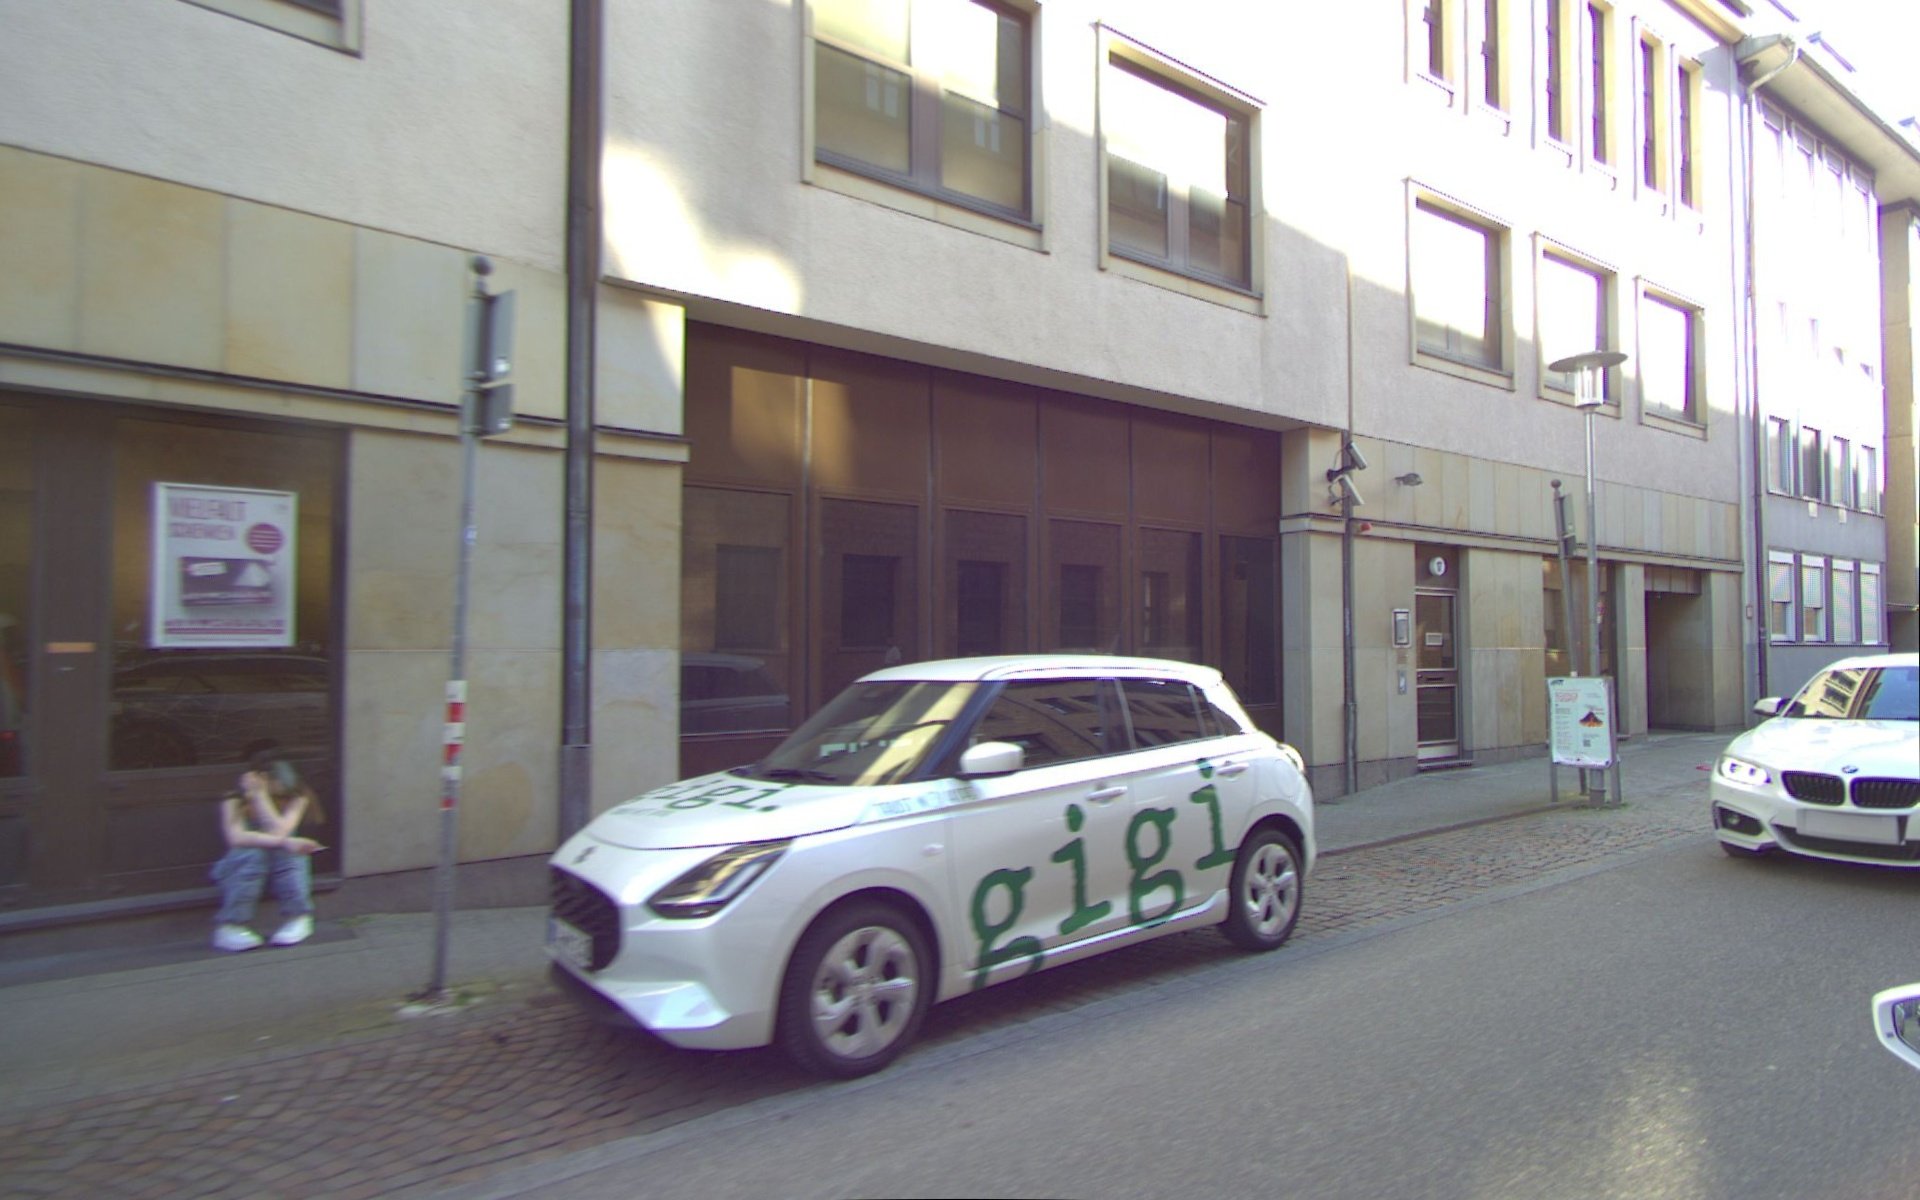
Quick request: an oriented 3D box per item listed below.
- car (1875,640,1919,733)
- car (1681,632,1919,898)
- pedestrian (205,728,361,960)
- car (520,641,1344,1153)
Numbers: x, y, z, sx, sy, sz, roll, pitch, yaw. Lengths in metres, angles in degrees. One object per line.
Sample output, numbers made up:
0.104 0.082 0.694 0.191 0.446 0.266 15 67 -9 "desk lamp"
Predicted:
18.043 1.479 17.698 4.682 1.550 1.878 2 -2 -35 "car"
7.068 1.020 7.293 4.119 1.537 1.704 2 -3 -35 "car"
-3.618 1.248 5.364 0.612 1.048 0.649 2 -3 -40 "pedestrian"
0.044 1.009 4.888 3.741 1.541 1.658 2 -5 -38 "car"
